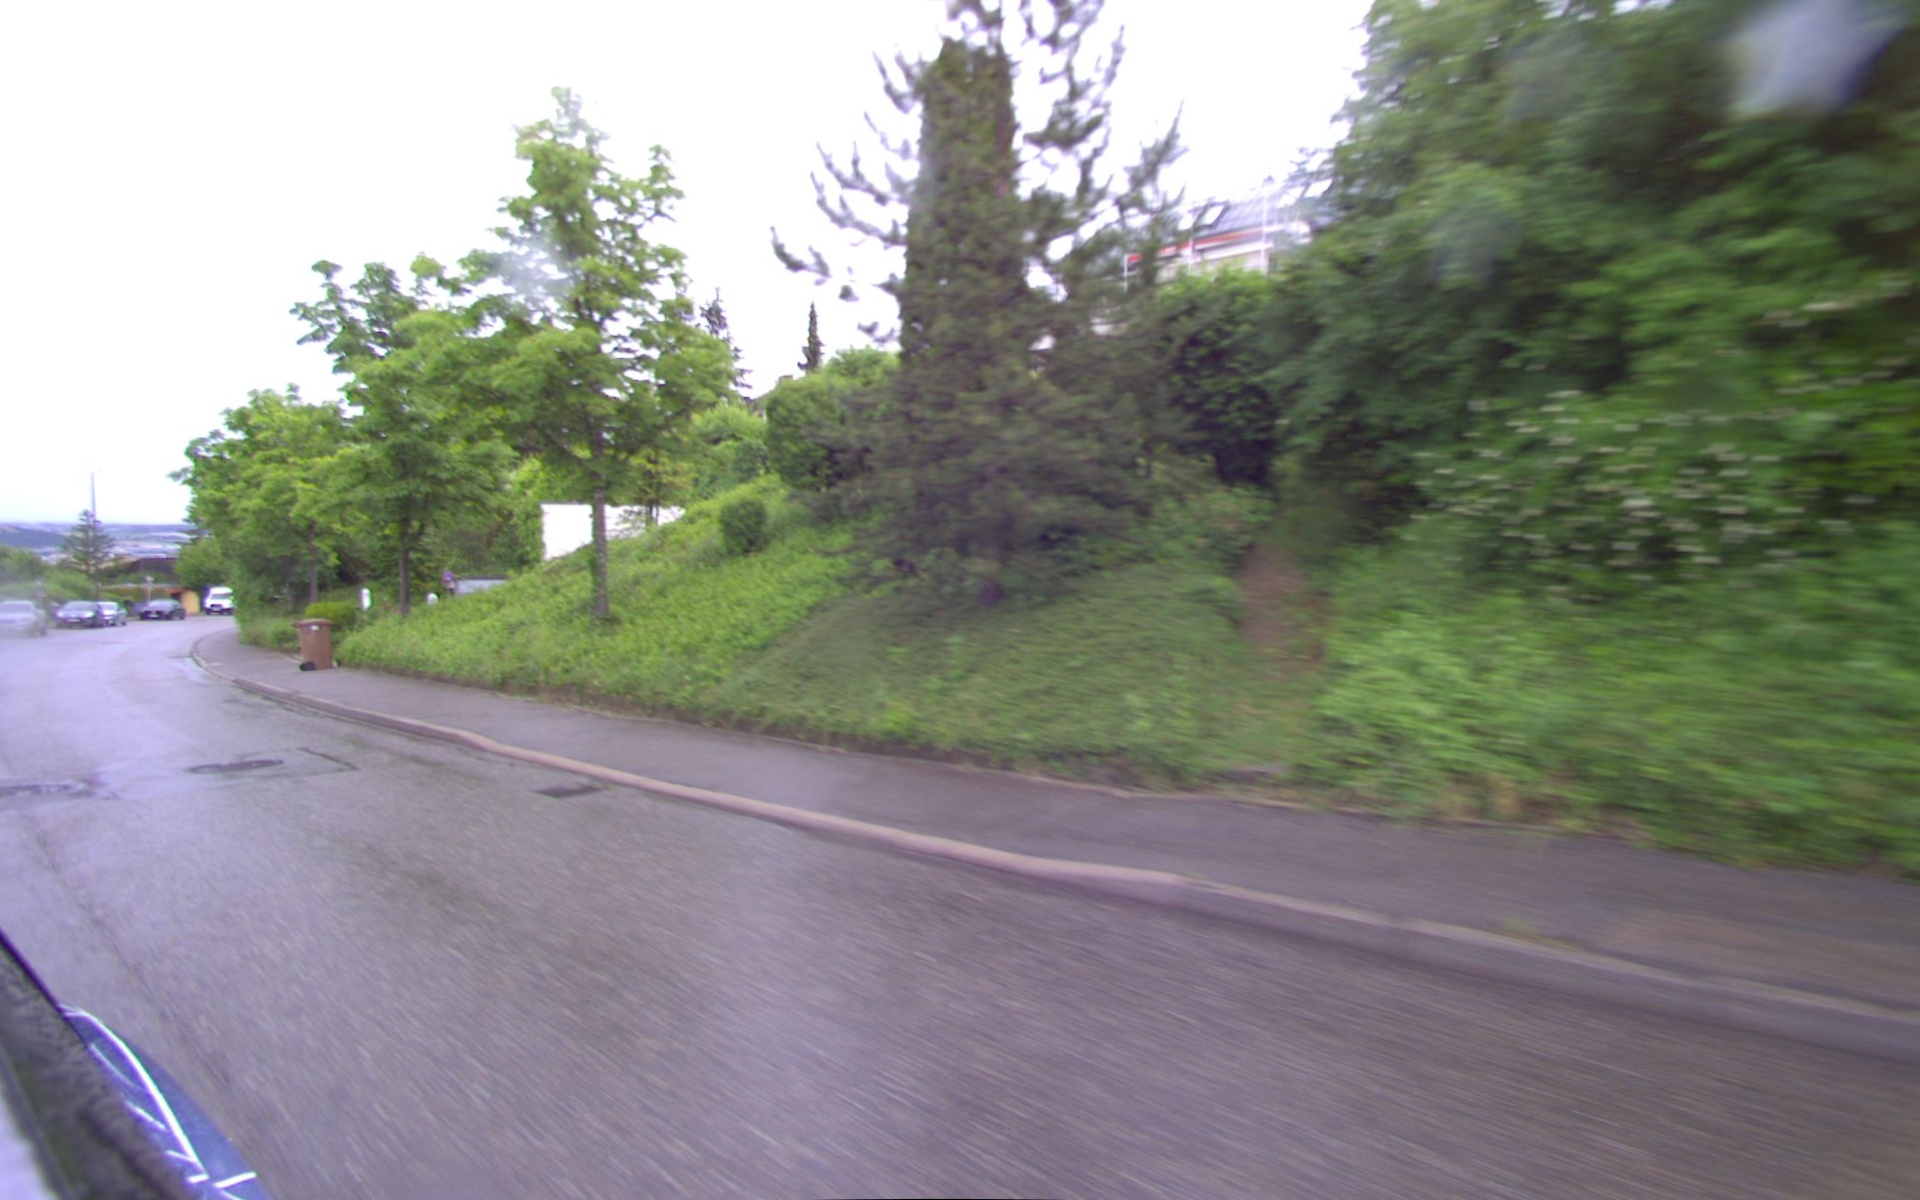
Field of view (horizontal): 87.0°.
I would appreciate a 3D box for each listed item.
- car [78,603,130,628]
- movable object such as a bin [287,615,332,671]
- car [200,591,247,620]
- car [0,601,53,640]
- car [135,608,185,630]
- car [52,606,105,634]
[{"bbox_3d":[-53.148,0.950,62.902,1.744,1.478,4.247,2,-1,-31],"label":"car"},{"bbox_3d":[-13.758,0.921,21.398,0.685,1.099,0.804,-4,-2,-38],"label":"movable object such as a bin"},{"bbox_3d":[-67.915,0.504,93.480,2.043,2.569,6.202,1,0,-22],"label":"car"},{"bbox_3d":[-42.564,0.892,45.661,1.779,1.639,4.299,2,-1,-33],"label":"car"},{"bbox_3d":[-60.106,1.398,76.124,1.831,1.538,5.080,2,-1,-26],"label":"car"},{"bbox_3d":[-50.677,1.136,58.232,1.636,1.478,3.774,2,-1,-32],"label":"car"}]
